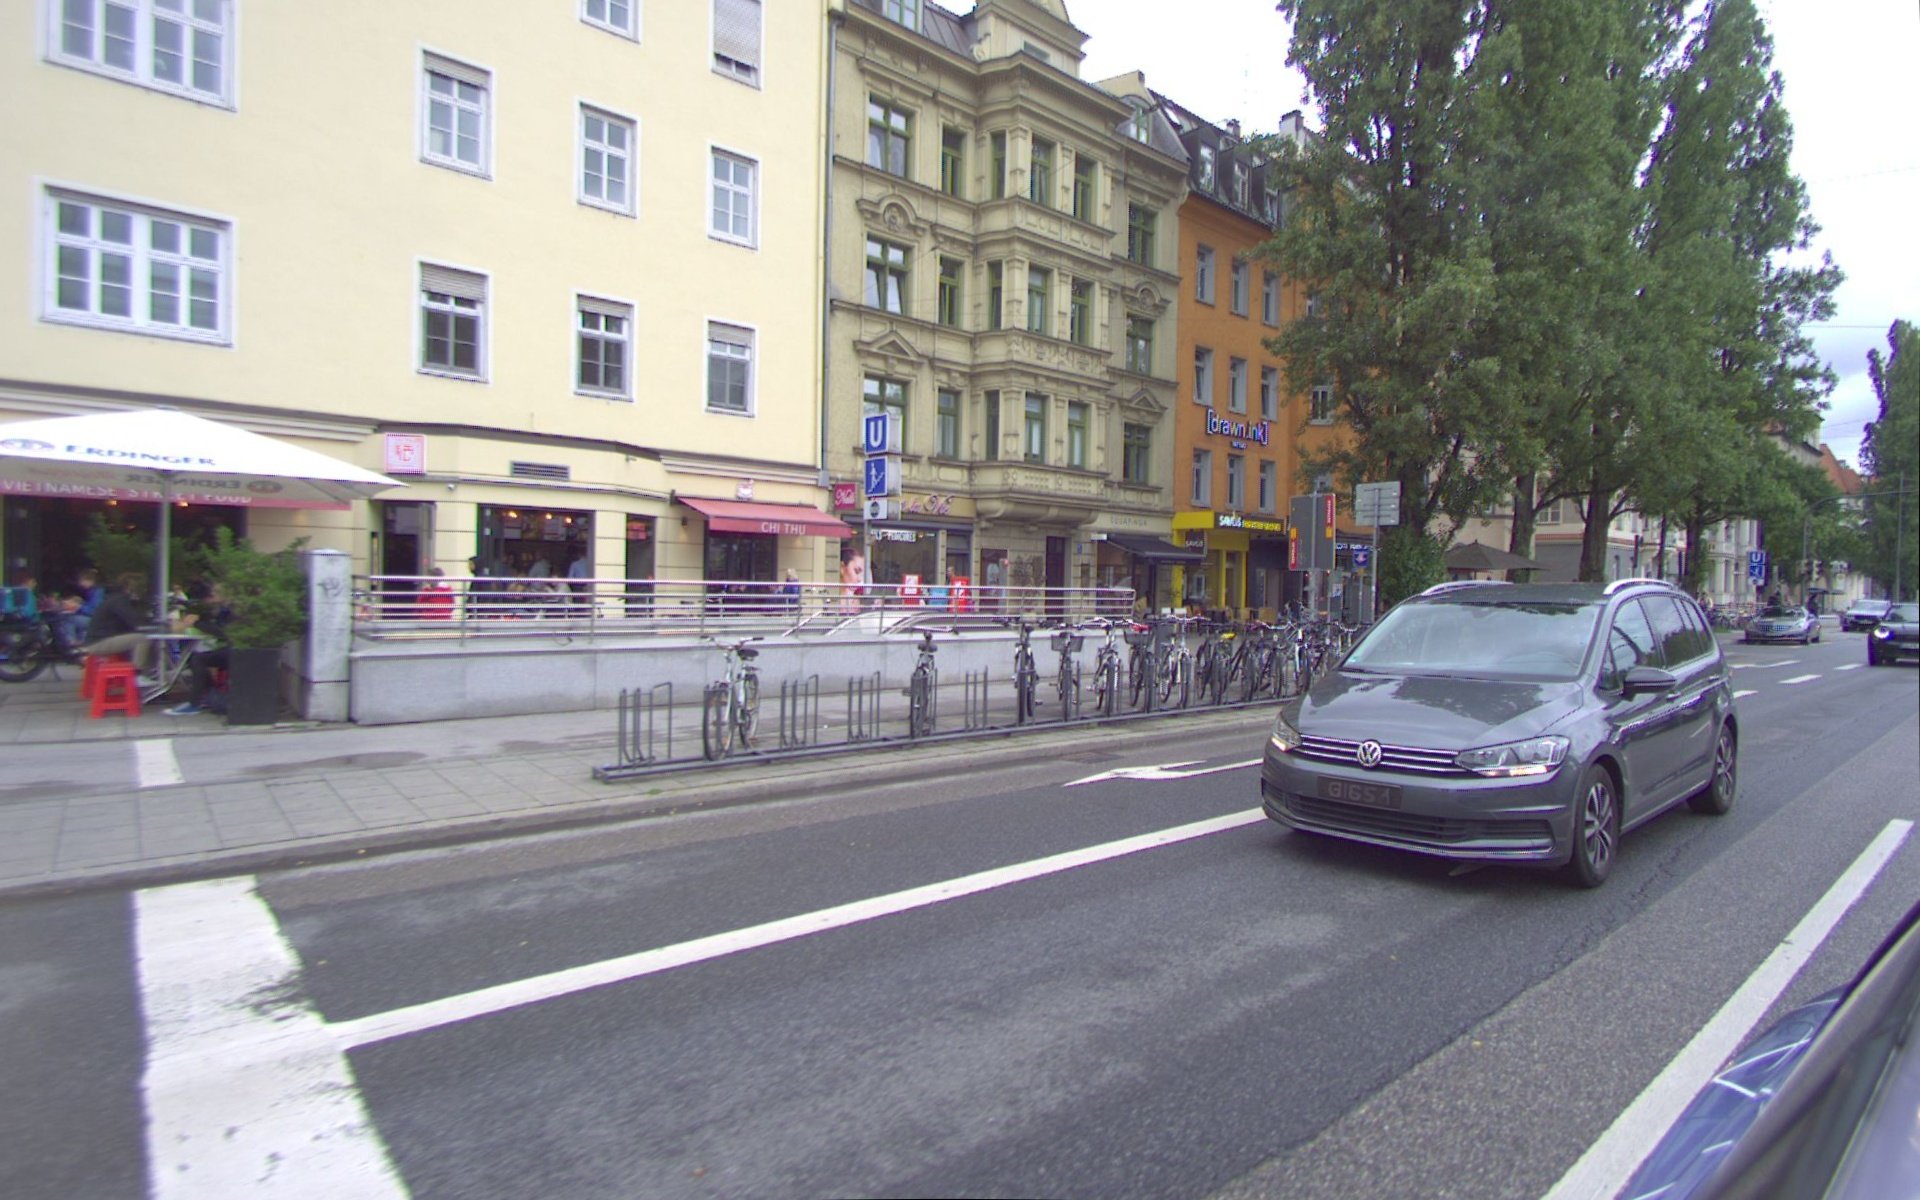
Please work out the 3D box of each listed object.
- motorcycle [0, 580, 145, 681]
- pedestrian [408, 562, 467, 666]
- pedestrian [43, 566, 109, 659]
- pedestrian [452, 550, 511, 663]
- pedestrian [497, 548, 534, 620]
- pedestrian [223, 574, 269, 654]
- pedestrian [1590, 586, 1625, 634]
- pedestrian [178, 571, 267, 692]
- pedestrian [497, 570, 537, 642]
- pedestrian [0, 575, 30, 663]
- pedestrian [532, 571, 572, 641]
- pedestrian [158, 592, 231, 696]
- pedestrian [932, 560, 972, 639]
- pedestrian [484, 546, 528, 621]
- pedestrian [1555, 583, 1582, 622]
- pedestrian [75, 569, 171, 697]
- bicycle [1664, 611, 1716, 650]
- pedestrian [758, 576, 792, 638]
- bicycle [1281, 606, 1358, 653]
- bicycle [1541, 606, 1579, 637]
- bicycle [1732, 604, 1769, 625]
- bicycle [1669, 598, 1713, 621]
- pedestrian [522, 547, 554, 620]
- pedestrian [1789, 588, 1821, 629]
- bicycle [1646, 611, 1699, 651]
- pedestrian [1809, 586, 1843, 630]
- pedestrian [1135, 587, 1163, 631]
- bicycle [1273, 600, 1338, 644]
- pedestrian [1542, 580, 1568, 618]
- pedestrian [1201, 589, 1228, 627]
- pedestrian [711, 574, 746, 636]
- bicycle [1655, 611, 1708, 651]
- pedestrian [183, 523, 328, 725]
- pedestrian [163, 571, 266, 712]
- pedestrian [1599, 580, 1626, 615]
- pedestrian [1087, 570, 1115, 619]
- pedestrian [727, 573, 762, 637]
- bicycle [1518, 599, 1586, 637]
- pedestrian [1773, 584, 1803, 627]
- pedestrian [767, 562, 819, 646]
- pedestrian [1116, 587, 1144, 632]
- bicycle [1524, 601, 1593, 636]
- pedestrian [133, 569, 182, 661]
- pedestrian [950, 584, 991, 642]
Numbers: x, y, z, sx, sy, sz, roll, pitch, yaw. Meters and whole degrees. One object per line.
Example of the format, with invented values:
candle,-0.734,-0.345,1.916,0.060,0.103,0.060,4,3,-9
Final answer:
motorcycle,-10.940,0.355,12.353,1.543,1.171,0.487,0,1,-40
pedestrian,-7.476,0.190,14.472,0.606,1.440,0.677,0,1,-40
pedestrian,-12.685,0.168,14.529,0.691,1.308,0.515,0,1,-42
pedestrian,-7.252,0.088,15.339,0.666,1.653,0.616,0,1,-40
pedestrian,-8.938,-0.322,20.329,0.542,1.414,0.542,0,1,-40
pedestrian,-10.903,0.206,15.459,0.518,1.180,0.479,0,1,-42
pedestrian,21.564,0.322,33.725,0.749,1.582,0.761,1,0,-39
pedestrian,-8.486,0.335,11.649,0.782,1.328,0.679,0,1,-40
pedestrian,-8.216,0.105,18.775,0.542,1.305,0.542,0,1,-40
pedestrian,-13.247,0.252,13.893,0.691,1.197,0.515,0,1,-42
pedestrian,-7.766,0.105,19.262,0.542,1.305,0.542,0,1,-40
pedestrian,-9.463,0.521,12.502,0.688,1.218,0.627,0,1,-40
pedestrian,-0.182,-0.019,22.760,0.654,1.761,0.601,0,1,-40
pedestrian,-8.758,-0.321,19.516,0.536,1.414,0.548,1,1,23
pedestrian,27.458,0.111,45.659,0.999,1.706,0.747,0,1,-41
pedestrian,-9.150,0.335,11.081,0.782,1.328,0.679,0,1,-40
bicycle,19.816,0.805,27.501,0.369,1.008,1.836,1,0,10
pedestrian,-4.064,0.145,22.261,0.542,1.349,0.496,0,1,-40
bicycle,8.673,0.704,24.463,1.722,1.059,0.381,1,-1,44
bicycle,18.424,0.640,31.072,1.861,0.903,0.457,0,1,-42
bicycle,40.515,0.731,51.879,1.801,1.036,0.447,0,0,-14
bicycle,39.140,0.512,54.196,1.855,1.169,0.464,0,0,8
pedestrian,-8.312,-0.319,19.934,0.479,1.414,0.511,0,1,-35
pedestrian,35.185,0.353,42.150,0.743,1.658,0.700,1,0,6
bicycle,18.731,0.806,26.647,0.369,1.008,1.836,1,0,10
pedestrian,36.316,0.314,42.446,0.741,1.824,0.883,1,0,-30
pedestrian,5.701,0.278,30.484,0.573,1.296,0.584,0,1,-41
bicycle,8.760,0.550,25.746,0.379,1.059,1.730,2,0,-29
pedestrian,27.804,-0.060,47.274,0.999,1.735,0.747,0,1,-41
pedestrian,8.321,0.253,33.144,0.573,1.233,0.623,0,1,-41
pedestrian,-4.974,0.105,21.762,0.542,1.305,0.496,0,1,-40
bicycle,19.311,0.806,27.123,0.369,1.008,1.836,1,0,10
pedestrian,-6.585,0.193,9.473,0.878,1.765,0.848,2,1,33
pedestrian,-7.434,0.386,10.093,0.782,1.327,0.679,0,1,-40
pedestrian,30.613,-0.134,47.482,0.808,1.622,0.848,0,1,-41
pedestrian,4.390,-0.186,31.466,0.572,1.493,0.627,0,1,-38
pedestrian,-4.483,0.099,21.062,0.542,1.305,0.496,0,1,-40
bicycle,19.921,0.603,34.070,0.571,1.188,1.892,0,1,-38
pedestrian,34.492,0.226,42.144,0.638,1.803,0.702,1,0,-7
pedestrian,-3.394,0.066,20.583,0.772,1.653,0.711,0,1,-40
pedestrian,5.039,0.277,29.991,0.573,1.296,0.584,0,1,-41
bicycle,19.553,0.599,33.089,0.450,1.067,1.892,0,1,-38
pedestrian,-11.670,0.206,14.716,0.518,1.315,0.479,0,1,-42
pedestrian,0.231,0.278,22.312,0.654,1.237,0.601,0,1,-40
